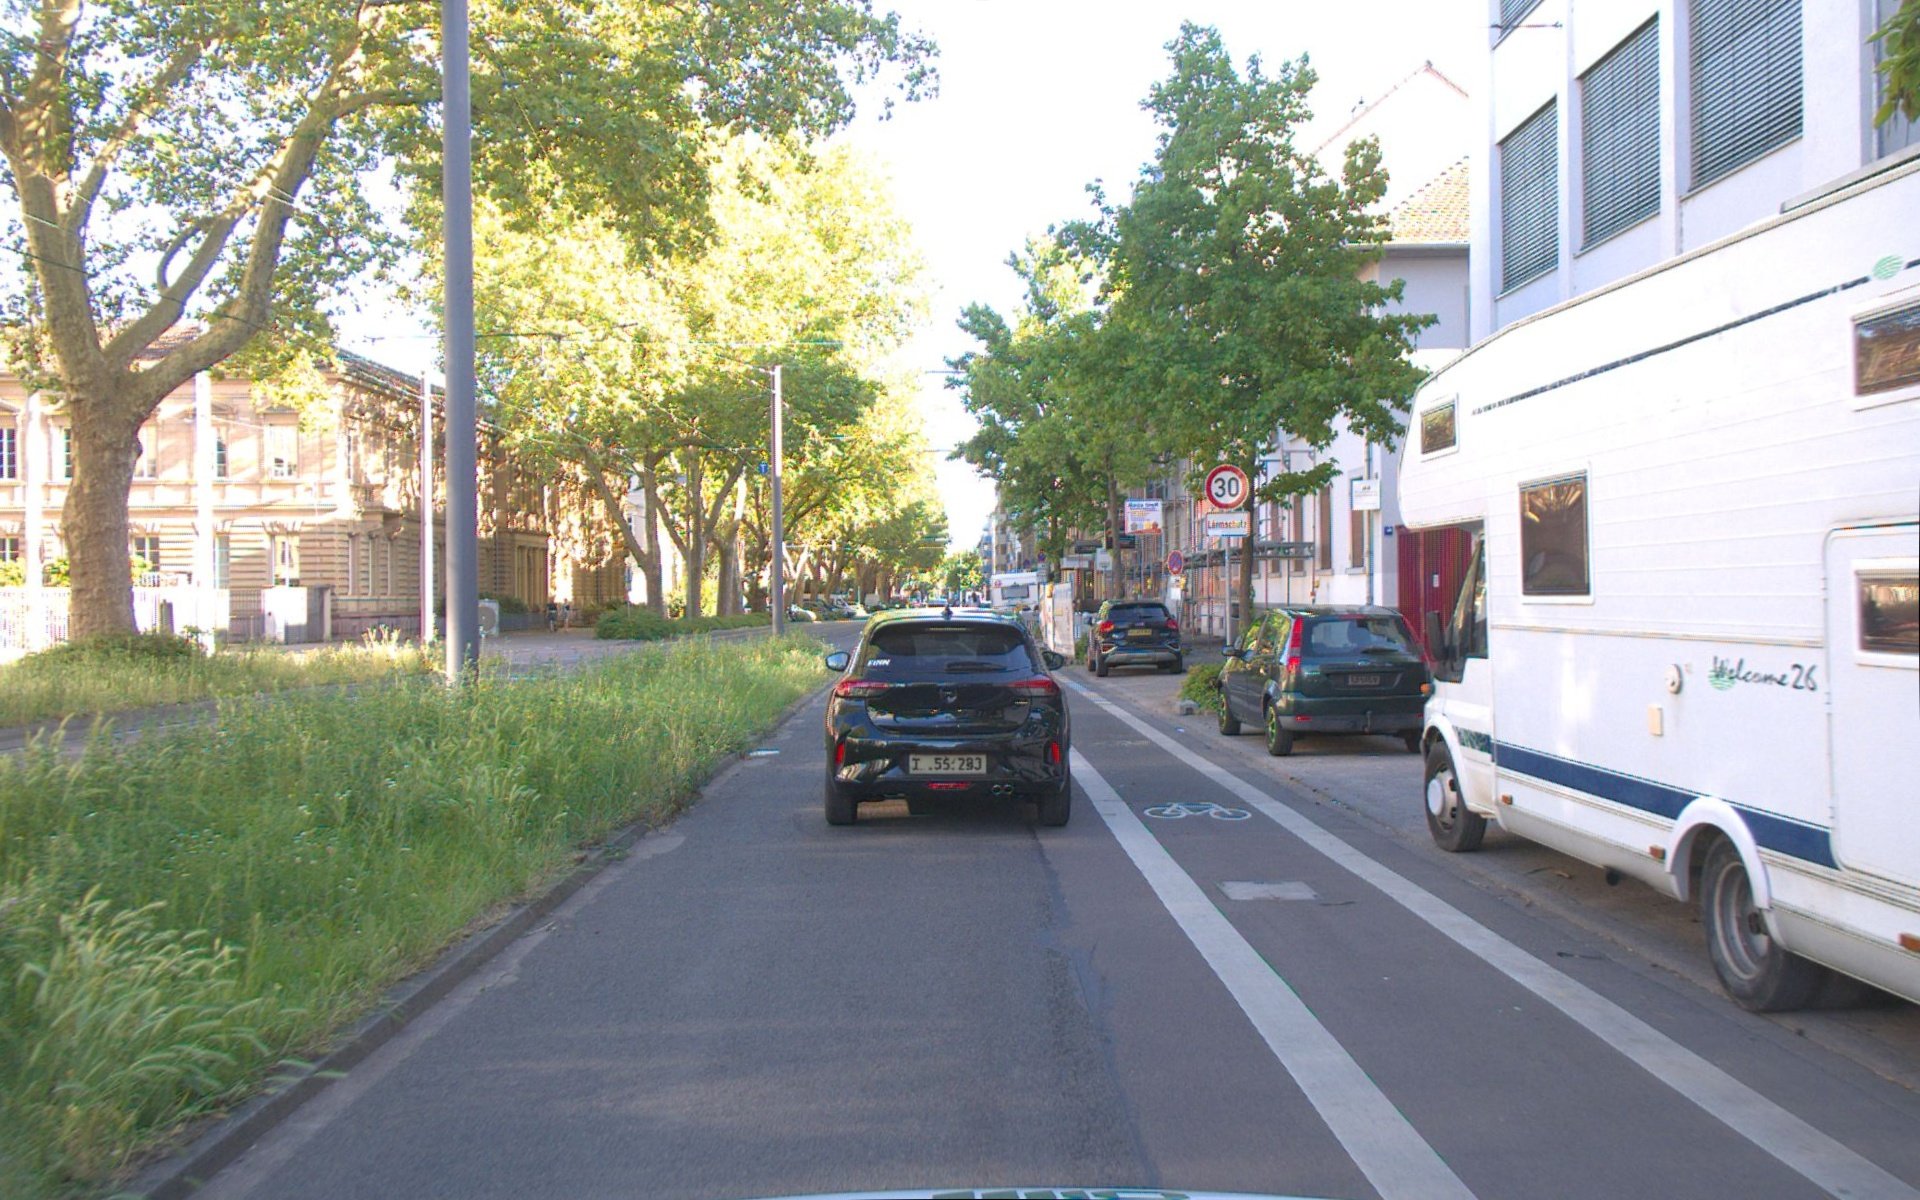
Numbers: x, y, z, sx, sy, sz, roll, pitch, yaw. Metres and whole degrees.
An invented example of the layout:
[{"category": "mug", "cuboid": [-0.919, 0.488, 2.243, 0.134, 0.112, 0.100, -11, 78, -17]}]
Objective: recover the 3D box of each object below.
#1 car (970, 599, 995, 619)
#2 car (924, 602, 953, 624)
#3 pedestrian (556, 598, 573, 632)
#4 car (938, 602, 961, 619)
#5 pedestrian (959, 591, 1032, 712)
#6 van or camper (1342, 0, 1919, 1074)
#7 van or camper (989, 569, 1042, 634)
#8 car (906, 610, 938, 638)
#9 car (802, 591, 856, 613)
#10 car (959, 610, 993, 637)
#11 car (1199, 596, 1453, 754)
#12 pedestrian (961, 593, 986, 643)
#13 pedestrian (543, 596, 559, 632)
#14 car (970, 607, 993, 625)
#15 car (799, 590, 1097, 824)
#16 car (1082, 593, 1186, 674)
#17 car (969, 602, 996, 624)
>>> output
[{"category": "car", "cuboid": [1.735, 0.701, 127.346, 1.865, 1.450, 4.216, -1, 0, 1]}, {"category": "car", "cuboid": [-1.475, 0.910, 114.508, 1.865, 1.450, 4.216, -1, 0, 1]}, {"category": "pedestrian", "cuboid": [-19.591, 0.729, 81.969, 0.645, 1.650, 0.615, 1, 0, -1]}, {"category": "car", "cuboid": [-0.863, 0.878, 140.287, 1.865, 1.450, 4.216, -1, 0, 1]}, {"category": "pedestrian", "cuboid": [0.472, 0.685, 22.527, 0.950, 1.590, 0.971, -1, 0, -1]}, {"category": "van or camper", "cuboid": [3.947, -0.224, 7.671, 2.328, 3.179, 7.549, -4, 0, -1]}, {"category": "van or camper", "cuboid": [2.674, 0.088, 80.933, 2.435, 3.046, 5.434, 1, 0, 1]}, {"category": "car", "cuboid": [-2.267, 1.437, 99.983, 1.753, 1.536, 3.874, -2, 0, 0]}, {"category": "car", "cuboid": [-13.982, 0.257, 176.873, 5.571, 2.236, 2.289, -1, 0, 0]}, {"category": "car", "cuboid": [0.949, 1.350, 95.458, 1.865, 1.450, 4.216, -1, 0, 1]}, {"category": "car", "cuboid": [3.763, 0.707, 17.675, 1.652, 1.445, 4.047, -1, 0, -2]}, {"category": "pedestrian", "cuboid": [0.551, 0.735, 69.174, 1.015, 2.059, 1.212, 0, 0, -1]}, {"category": "pedestrian", "cuboid": [-20.242, 0.713, 81.957, 0.605, 1.764, 0.596, 1, 0, -1]}, {"category": "car", "cuboid": [1.810, 1.302, 138.379, 1.865, 1.450, 4.216, -1, 0, 1]}, {"category": "car", "cuboid": [-0.039, 0.666, 12.573, 1.865, 1.450, 4.216, -1, 0, 1]}, {"category": "car", "cuboid": [3.584, 0.659, 34.644, 1.753, 1.536, 3.874, -2, 0, 0]}, {"category": "car", "cuboid": [1.565, 0.869, 114.994, 1.865, 1.450, 4.216, -1, 0, 1]}]
